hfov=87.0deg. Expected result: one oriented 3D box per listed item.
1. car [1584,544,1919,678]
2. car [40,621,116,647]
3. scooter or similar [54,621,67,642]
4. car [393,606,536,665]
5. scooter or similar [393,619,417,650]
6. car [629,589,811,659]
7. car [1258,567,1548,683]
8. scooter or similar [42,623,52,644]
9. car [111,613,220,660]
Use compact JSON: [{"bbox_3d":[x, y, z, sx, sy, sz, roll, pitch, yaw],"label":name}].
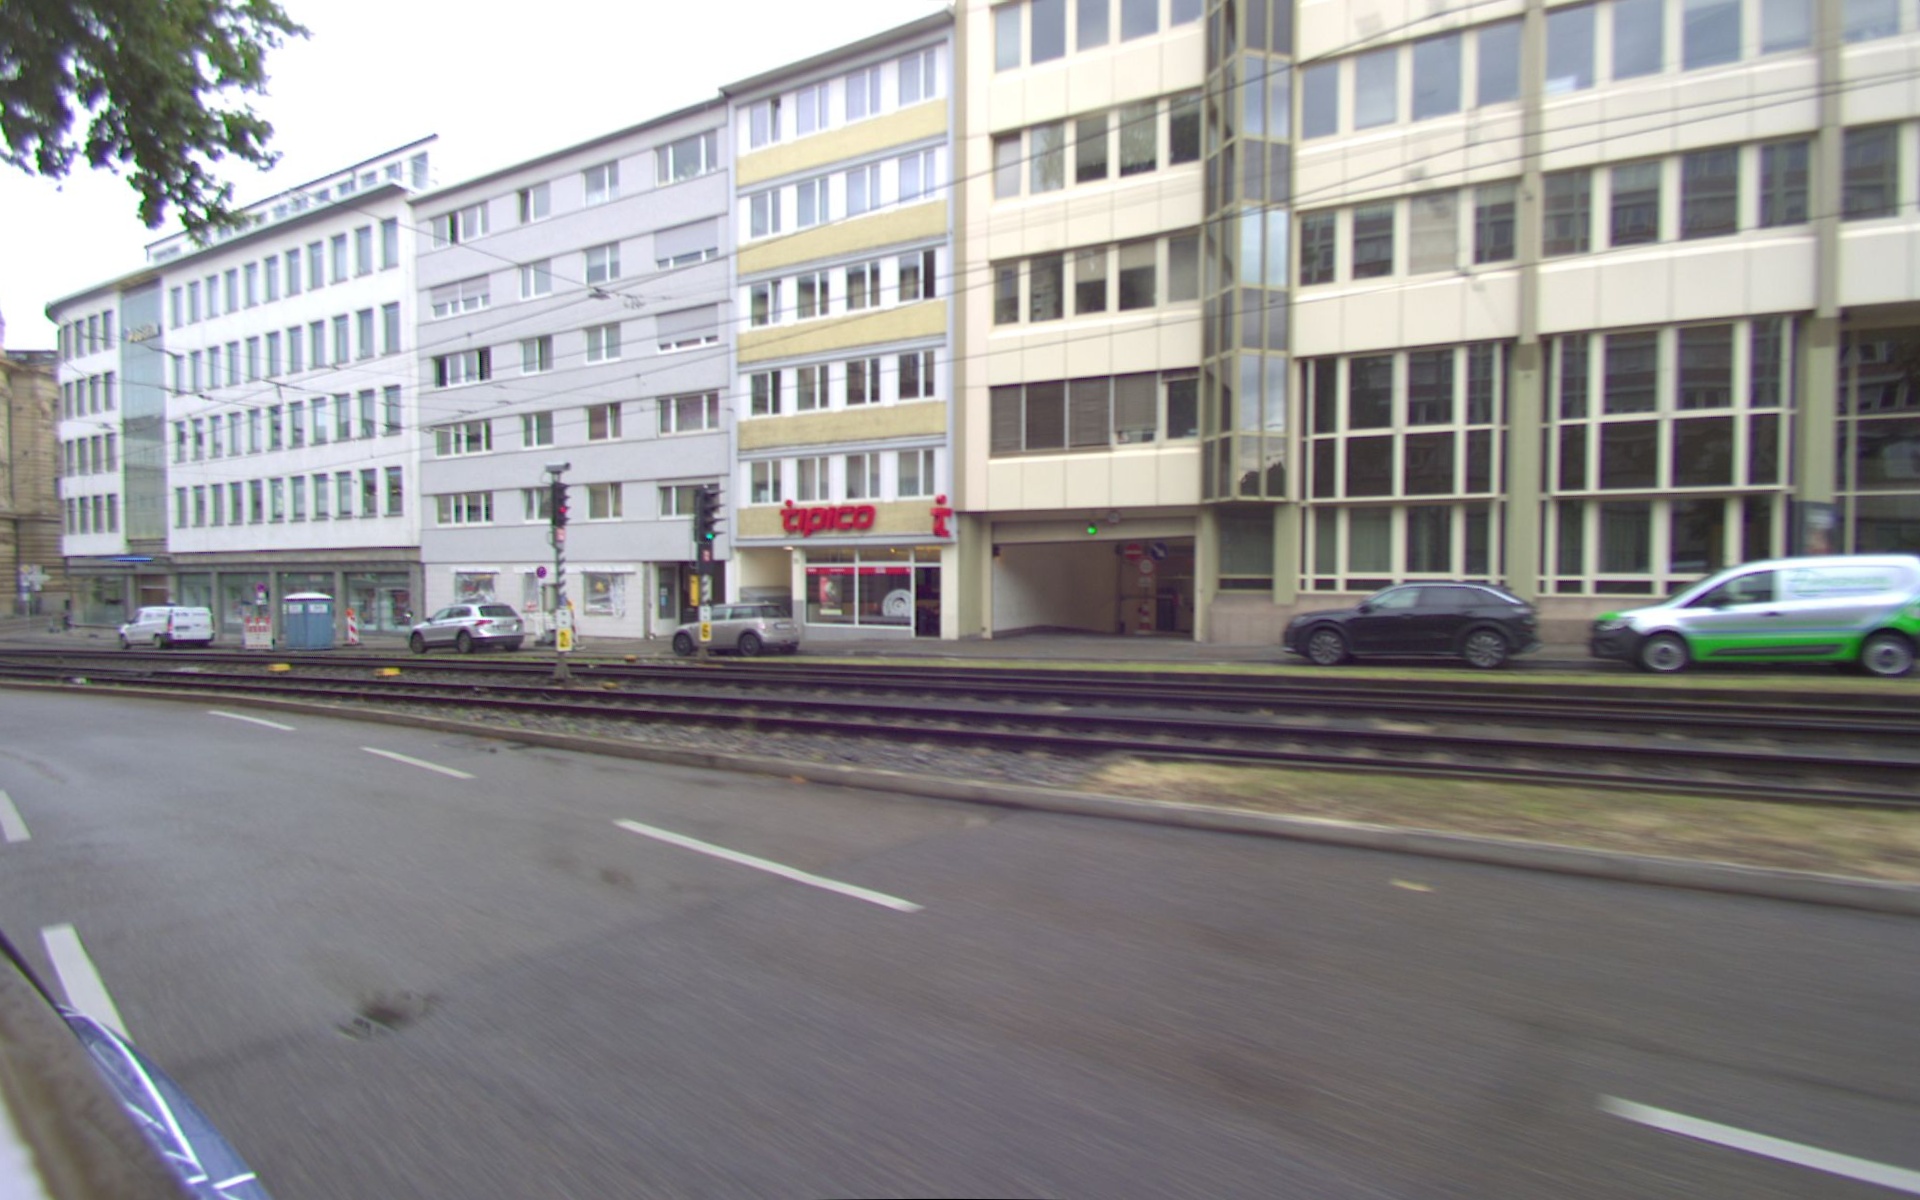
[{"bbox_3d":[12.587,0.127,15.843,4.675,1.863,1.981,0,3,29],"label":"car"},{"bbox_3d":[-59.517,2.266,68.360,1.757,1.408,4.336,-2,3,-8],"label":"car"},{"bbox_3d":[-56.349,1.980,63.386,0.404,1.209,1.564,-3,3,-36],"label":"scooter or similar"},{"bbox_3d":[-16.331,1.180,33.322,4.679,1.686,1.979,-2,2,32],"label":"car"},{"bbox_3d":[-22.565,1.402,41.155,0.970,1.211,0.378,0,3,31],"label":"scooter or similar"},{"bbox_3d":[-6.528,0.612,27.466,4.675,1.686,1.981,0,3,29],"label":"car"},{"bbox_3d":[8.091,0.404,18.648,4.675,1.863,1.981,0,3,29],"label":"car"},{"bbox_3d":[-56.769,2.073,62.918,0.405,1.209,1.562,-4,3,-43],"label":"scooter or similar"},{"bbox_3d":[-35.540,1.577,45.226,5.110,1.856,1.981,0,3,29],"label":"car"}]
